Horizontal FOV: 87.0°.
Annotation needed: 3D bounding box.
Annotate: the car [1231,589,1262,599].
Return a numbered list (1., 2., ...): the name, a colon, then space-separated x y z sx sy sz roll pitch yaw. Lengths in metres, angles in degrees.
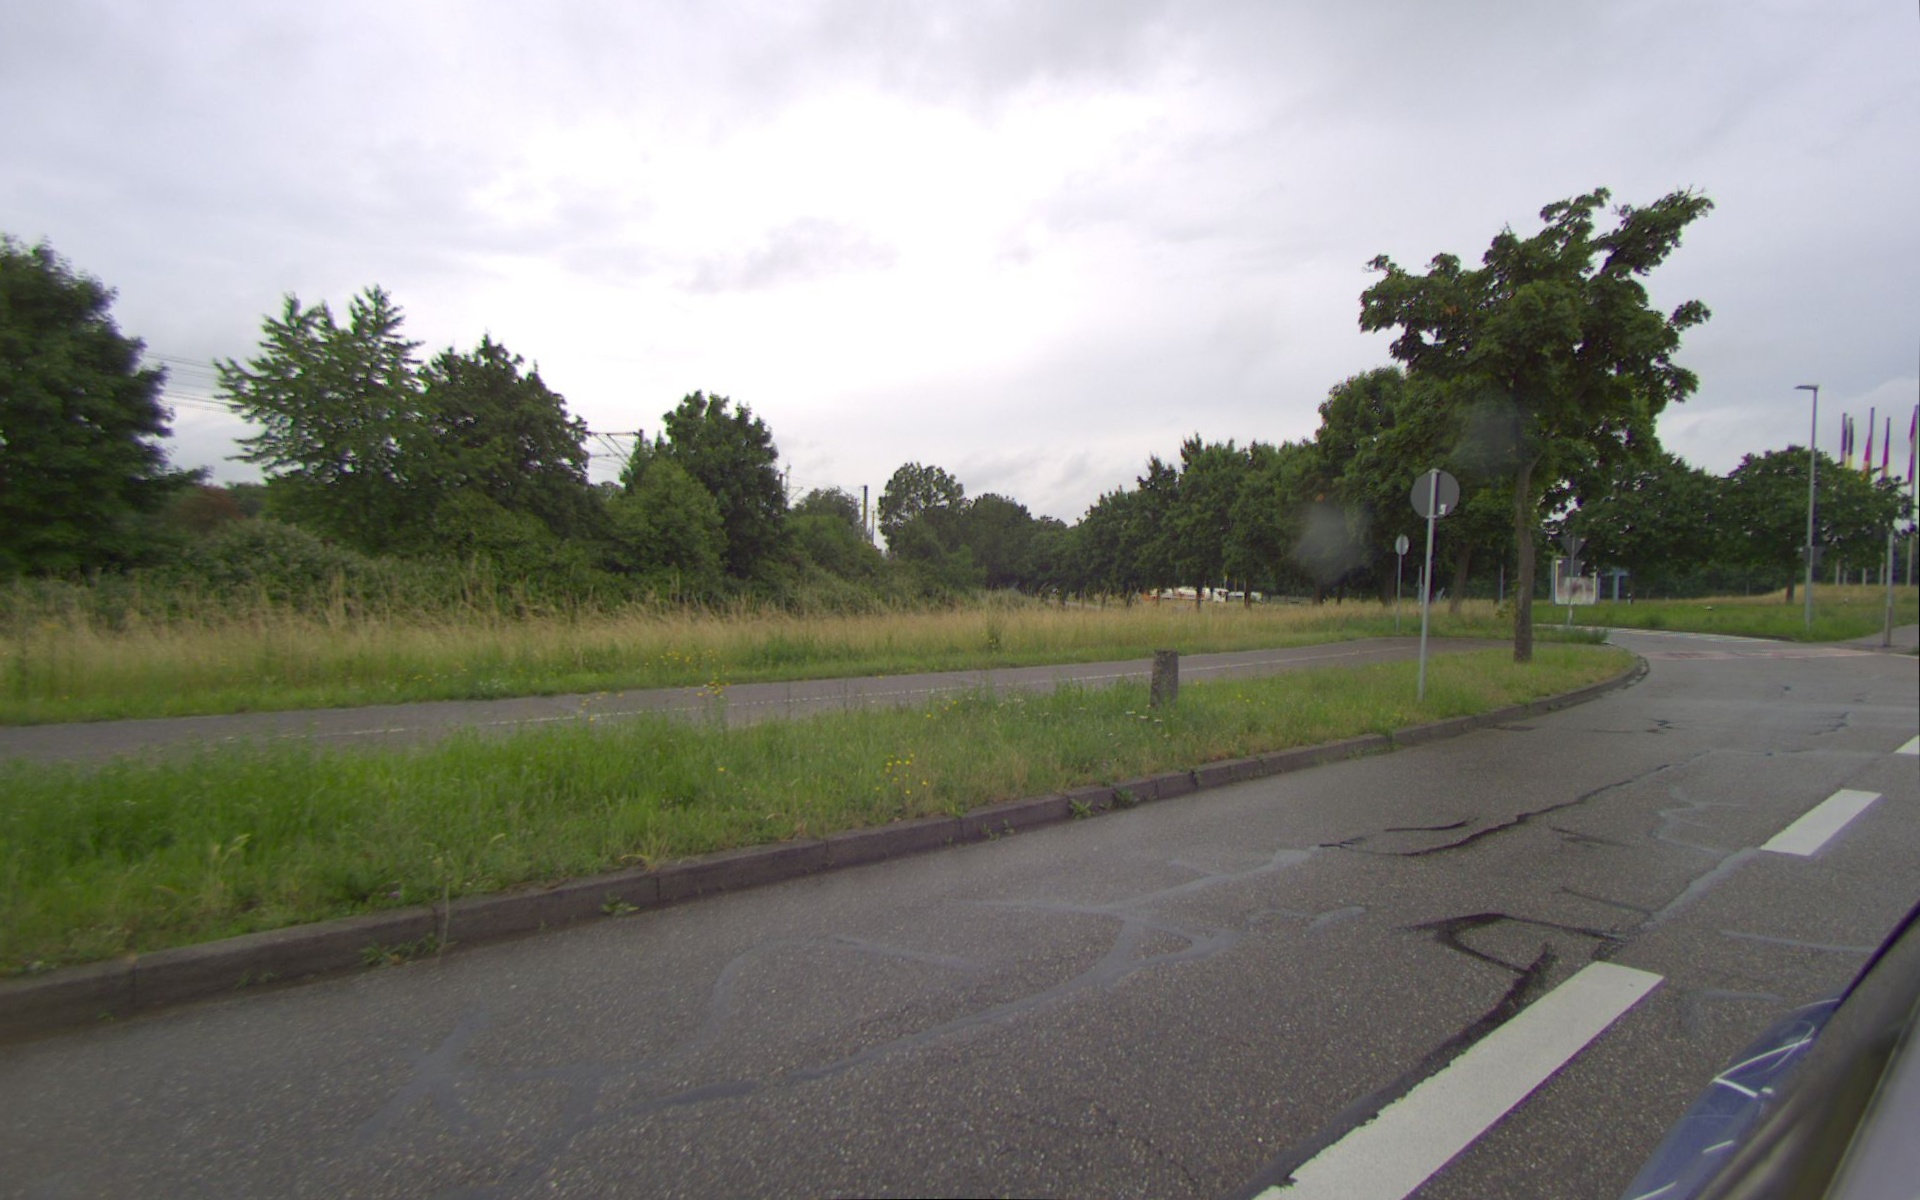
1. car: 53.951 -1.145 190.599 5.248 1.627 2.216 1 1 32

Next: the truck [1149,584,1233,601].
1. truck: 41.371 -1.421 181.913 14.521 2.765 3.466 2 1 33
